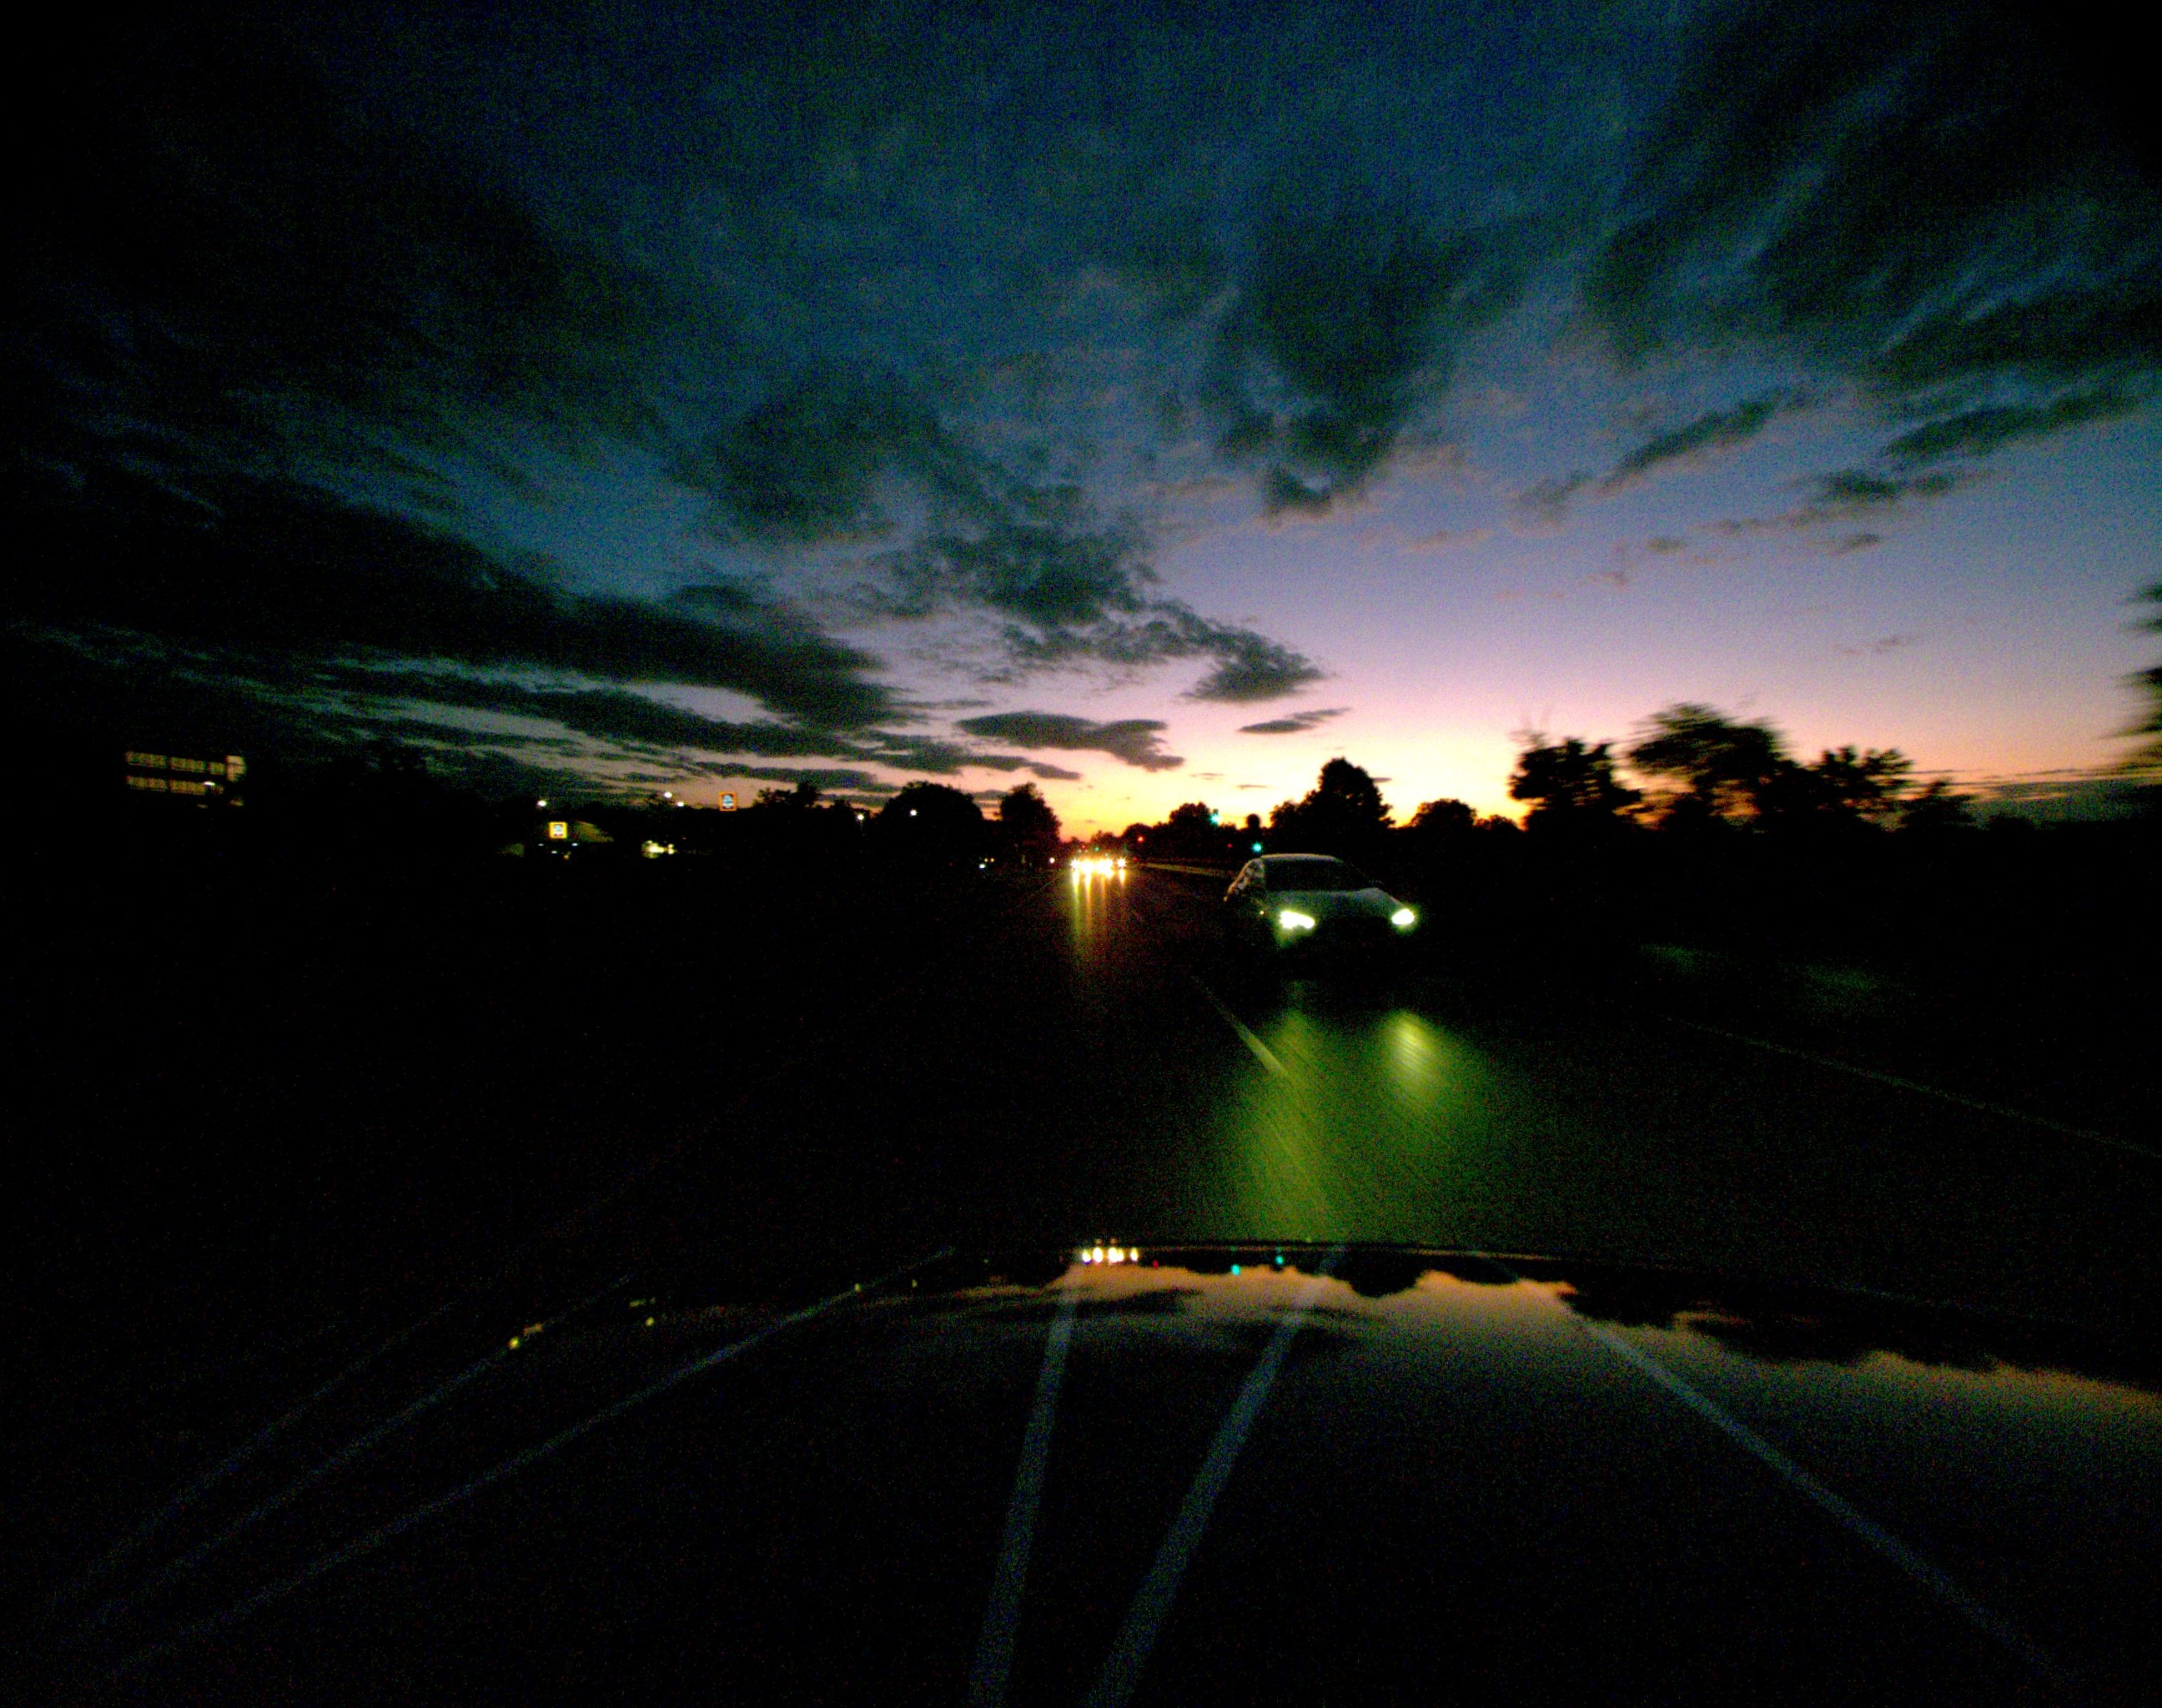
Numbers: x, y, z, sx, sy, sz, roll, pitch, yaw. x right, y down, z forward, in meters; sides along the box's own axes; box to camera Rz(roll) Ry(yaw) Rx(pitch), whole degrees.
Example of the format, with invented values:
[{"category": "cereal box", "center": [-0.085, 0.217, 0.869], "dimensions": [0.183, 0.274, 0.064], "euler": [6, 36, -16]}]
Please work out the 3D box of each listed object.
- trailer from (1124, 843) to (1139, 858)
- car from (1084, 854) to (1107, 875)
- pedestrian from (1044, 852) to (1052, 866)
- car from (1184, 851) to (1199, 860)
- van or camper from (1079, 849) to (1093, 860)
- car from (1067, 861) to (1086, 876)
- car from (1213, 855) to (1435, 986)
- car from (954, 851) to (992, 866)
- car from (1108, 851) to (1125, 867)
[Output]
[{"category": "trailer", "center": [14.050, -0.912, 210.438], "dimensions": [2.585, 3.920, 8.871], "euler": [1, 0, -6]}, {"category": "car", "center": [1.114, 0.780, 58.663], "dimensions": [1.663, 1.528, 3.715], "euler": [-2, 0, 1]}, {"category": "pedestrian", "center": [-4.743, 0.694, 109.713], "dimensions": [0.782, 2.002, 0.712], "euler": [-3, 1, -38]}, {"category": "car", "center": [17.004, 0.194, 117.428], "dimensions": [1.656, 1.376, 4.029], "euler": [-3, 1, 0]}, {"category": "van or camper", "center": [1.505, 0.136, 222.873], "dimensions": [3.949, 3.107, 9.942], "euler": [0, 0, 0]}, {"category": "car", "center": [-0.434, 1.554, 83.371], "dimensions": [1.902, 1.547, 4.301], "euler": [-3, -1, 1]}, {"category": "car", "center": [3.263, 0.814, 11.276], "dimensions": [1.819, 1.428, 4.647], "euler": [-4, -1, 1]}, {"category": "car", "center": [-12.963, 0.531, 91.460], "dimensions": [4.477, 1.654, 1.999], "euler": [1, 0, -7]}, {"category": "car", "center": [3.996, 0.539, 86.993], "dimensions": [1.760, 1.692, 4.250], "euler": [-2, 0, 1]}]
